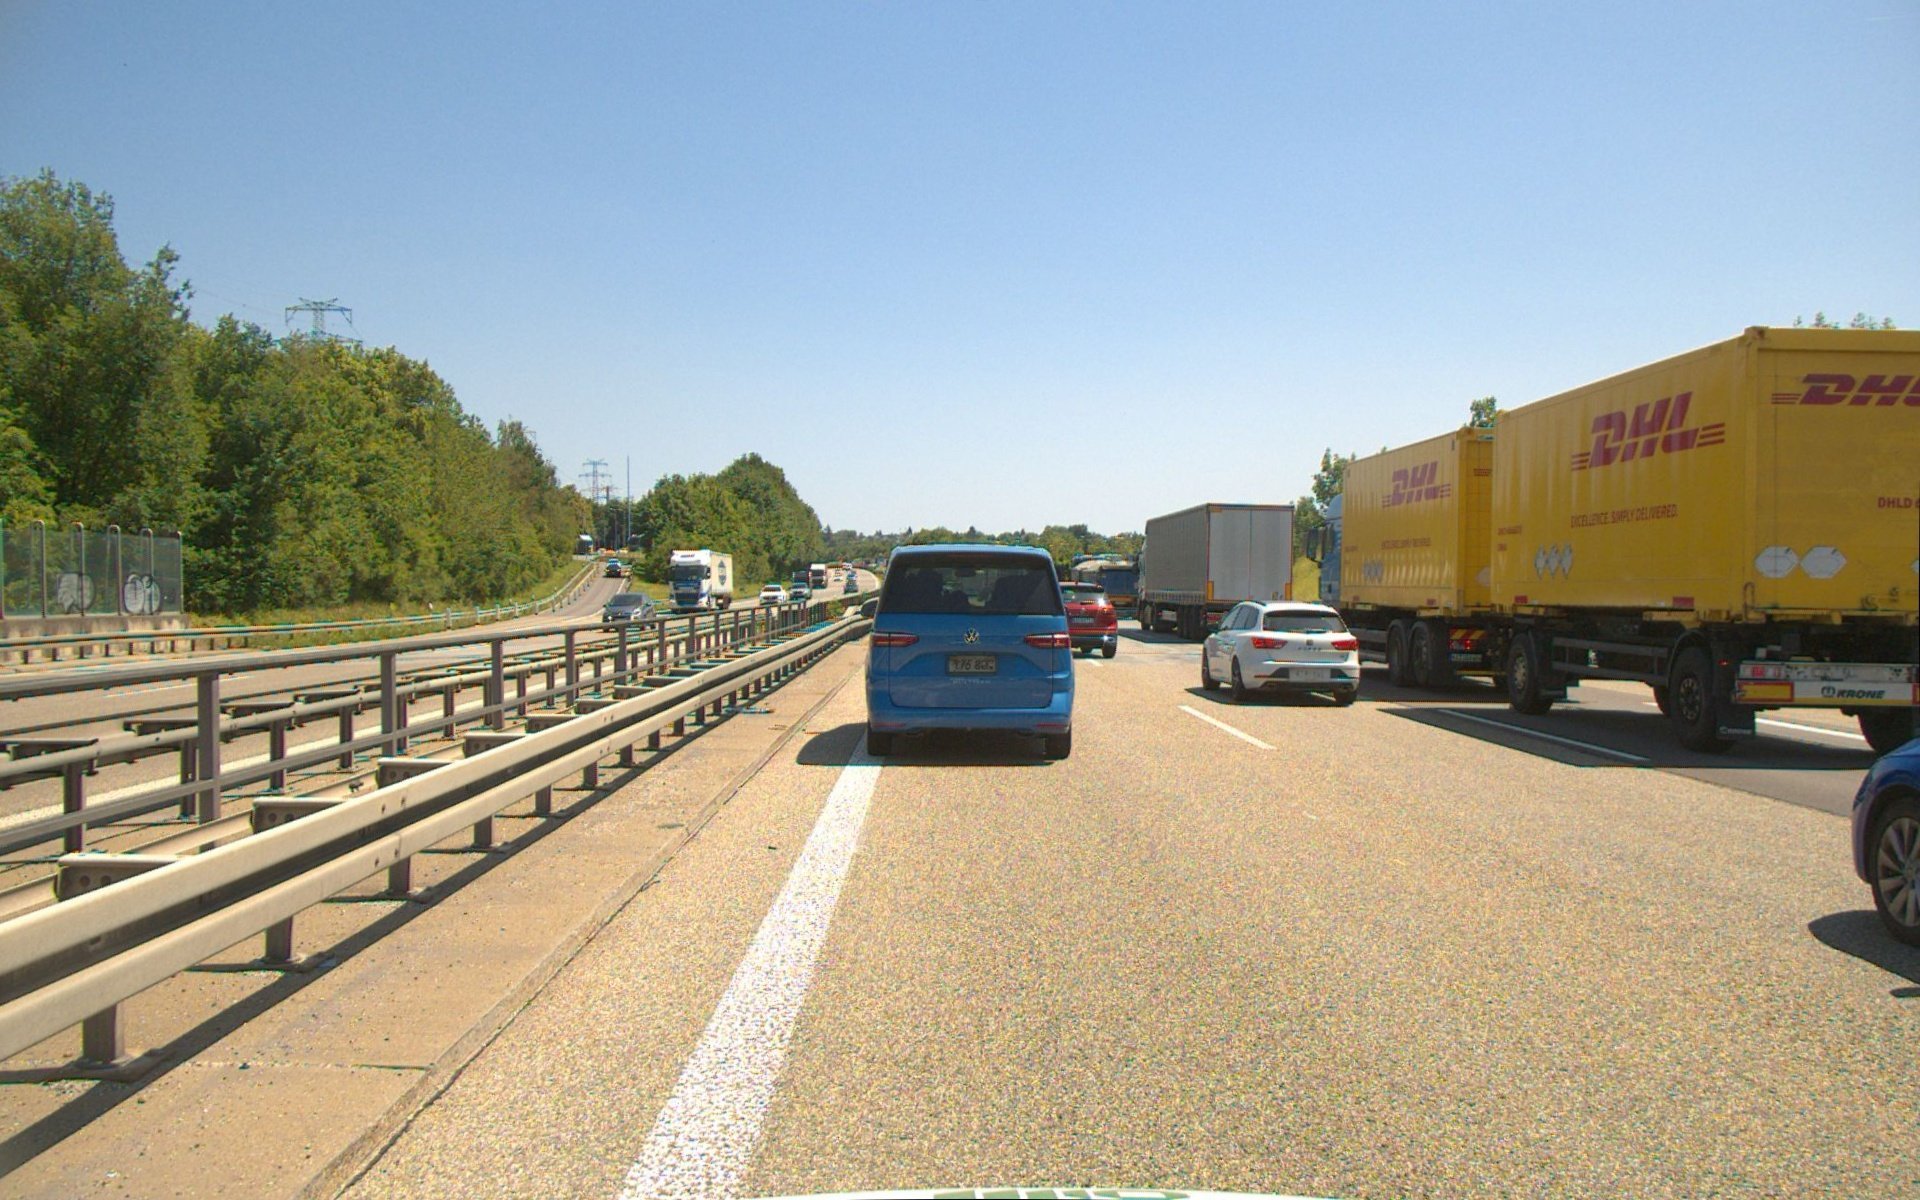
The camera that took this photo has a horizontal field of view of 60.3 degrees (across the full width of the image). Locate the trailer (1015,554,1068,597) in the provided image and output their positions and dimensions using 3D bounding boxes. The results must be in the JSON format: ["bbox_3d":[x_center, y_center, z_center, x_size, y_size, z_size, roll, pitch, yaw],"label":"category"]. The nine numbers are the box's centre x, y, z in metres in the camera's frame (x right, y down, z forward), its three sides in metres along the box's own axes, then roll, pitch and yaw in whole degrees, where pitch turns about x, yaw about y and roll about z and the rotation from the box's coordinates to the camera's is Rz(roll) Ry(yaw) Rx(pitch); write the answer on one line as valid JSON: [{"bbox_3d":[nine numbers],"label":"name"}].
[{"bbox_3d":[6.392,-1.861,132.242,3.571,3.132,15.773,1,0,1],"label":"trailer"}]

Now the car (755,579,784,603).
[{"bbox_3d":[-14.368,-0.669,124.957,1.713,1.725,4.385,-2,0,0],"label":"car"}]

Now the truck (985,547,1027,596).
[{"bbox_3d":[5.087,-3.113,186.183,3.549,5.303,15.680,1,0,-3],"label":"truck"}]

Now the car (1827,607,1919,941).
[{"bbox_3d":[5.098,0.793,5.861,1.671,1.466,4.427,1,0,-1],"label":"car"}]

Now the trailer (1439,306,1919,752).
[{"bbox_3d":[8.673,-0.680,20.322,2.709,4.189,9.375,1,0,-1],"label":"trailer"}]

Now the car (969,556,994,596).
[{"bbox_3d":[2.924,-3.332,230.926,3.153,5.349,8.142,1,0,-1],"label":"car"}]

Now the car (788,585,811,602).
[{"bbox_3d":[-15.731,-0.643,161.943,1.832,1.653,4.628,1,0,-1],"label":"car"}]

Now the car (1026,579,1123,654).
[{"bbox_3d":[2.566,0.351,37.745,1.833,1.579,3.999,1,0,-1],"label":"car"}]

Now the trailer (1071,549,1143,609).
[{"bbox_3d":[7.459,-1.160,85.173,2.688,2.885,9.115,1,2,-1],"label":"trailer"}]

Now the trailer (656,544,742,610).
[{"bbox_3d":[-18.345,-1.577,117.424,3.908,4.309,14.038,-1,0,-1],"label":"trailer"}]

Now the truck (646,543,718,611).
[{"bbox_3d":[-18.290,-1.496,109.246,3.925,4.302,4.857,-1,0,-1],"label":"truck"}]

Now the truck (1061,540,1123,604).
[{"bbox_3d":[7.318,-1.611,92.396,2.688,3.369,7.132,1,2,-1],"label":"truck"}]

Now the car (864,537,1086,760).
[{"bbox_3d":[0.126,0.405,16.097,1.862,1.870,4.000,1,0,0],"label":"car"}]

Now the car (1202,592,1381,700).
[{"bbox_3d":[4.804,0.615,24.530,1.829,1.384,4.000,1,1,0],"label":"car"}]

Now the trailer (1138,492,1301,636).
[{"bbox_3d":[8.183,-1.134,54.286,2.902,4.120,13.749,0,1,-1],"label":"trailer"}]

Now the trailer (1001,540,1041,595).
[{"bbox_3d":[6.040,-3.147,165.890,3.571,5.226,13.076,1,0,1],"label":"trailer"}]

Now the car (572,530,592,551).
[{"bbox_3d":[-57.569,-9.092,251.817,2.038,2.930,6.694,-1,0,-20],"label":"car"}]

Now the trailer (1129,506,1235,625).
[{"bbox_3d":[8.046,-1.249,60.626,2.865,4.114,6.410,0,1,-1],"label":"trailer"}]

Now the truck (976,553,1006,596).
[{"bbox_3d":[3.764,-3.087,202.972,3.006,5.005,10.687,1,0,-2],"label":"truck"}]

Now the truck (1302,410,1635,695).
[{"bbox_3d":[8.582,-0.719,29.541,2.709,4.181,9.951,1,0,-1],"label":"truck"}]

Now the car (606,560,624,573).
[{"bbox_3d":[-43.744,-4.231,209.814,1.956,1.603,5.265,1,0,-8],"label":"car"}]

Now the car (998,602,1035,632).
[{"bbox_3d":[3.042,0.906,89.510,1.745,1.551,3.999,1,0,-2],"label":"car"}]

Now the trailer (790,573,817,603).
[{"bbox_3d":[-15.795,-1.214,166.881,2.122,2.825,5.376,-3,0,-1],"label":"trailer"}]

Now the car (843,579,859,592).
[{"bbox_3d":[-13.418,-1.811,204.375,1.755,1.600,4.000,1,0,-1],"label":"car"}]

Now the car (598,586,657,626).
[{"bbox_3d":[-13.206,0.222,65.838,1.619,1.488,3.542,-1,0,-1],"label":"car"}]

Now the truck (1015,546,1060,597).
[{"bbox_3d":[6.520,-2.353,140.842,3.551,4.166,7.525,1,0,1],"label":"truck"}]
